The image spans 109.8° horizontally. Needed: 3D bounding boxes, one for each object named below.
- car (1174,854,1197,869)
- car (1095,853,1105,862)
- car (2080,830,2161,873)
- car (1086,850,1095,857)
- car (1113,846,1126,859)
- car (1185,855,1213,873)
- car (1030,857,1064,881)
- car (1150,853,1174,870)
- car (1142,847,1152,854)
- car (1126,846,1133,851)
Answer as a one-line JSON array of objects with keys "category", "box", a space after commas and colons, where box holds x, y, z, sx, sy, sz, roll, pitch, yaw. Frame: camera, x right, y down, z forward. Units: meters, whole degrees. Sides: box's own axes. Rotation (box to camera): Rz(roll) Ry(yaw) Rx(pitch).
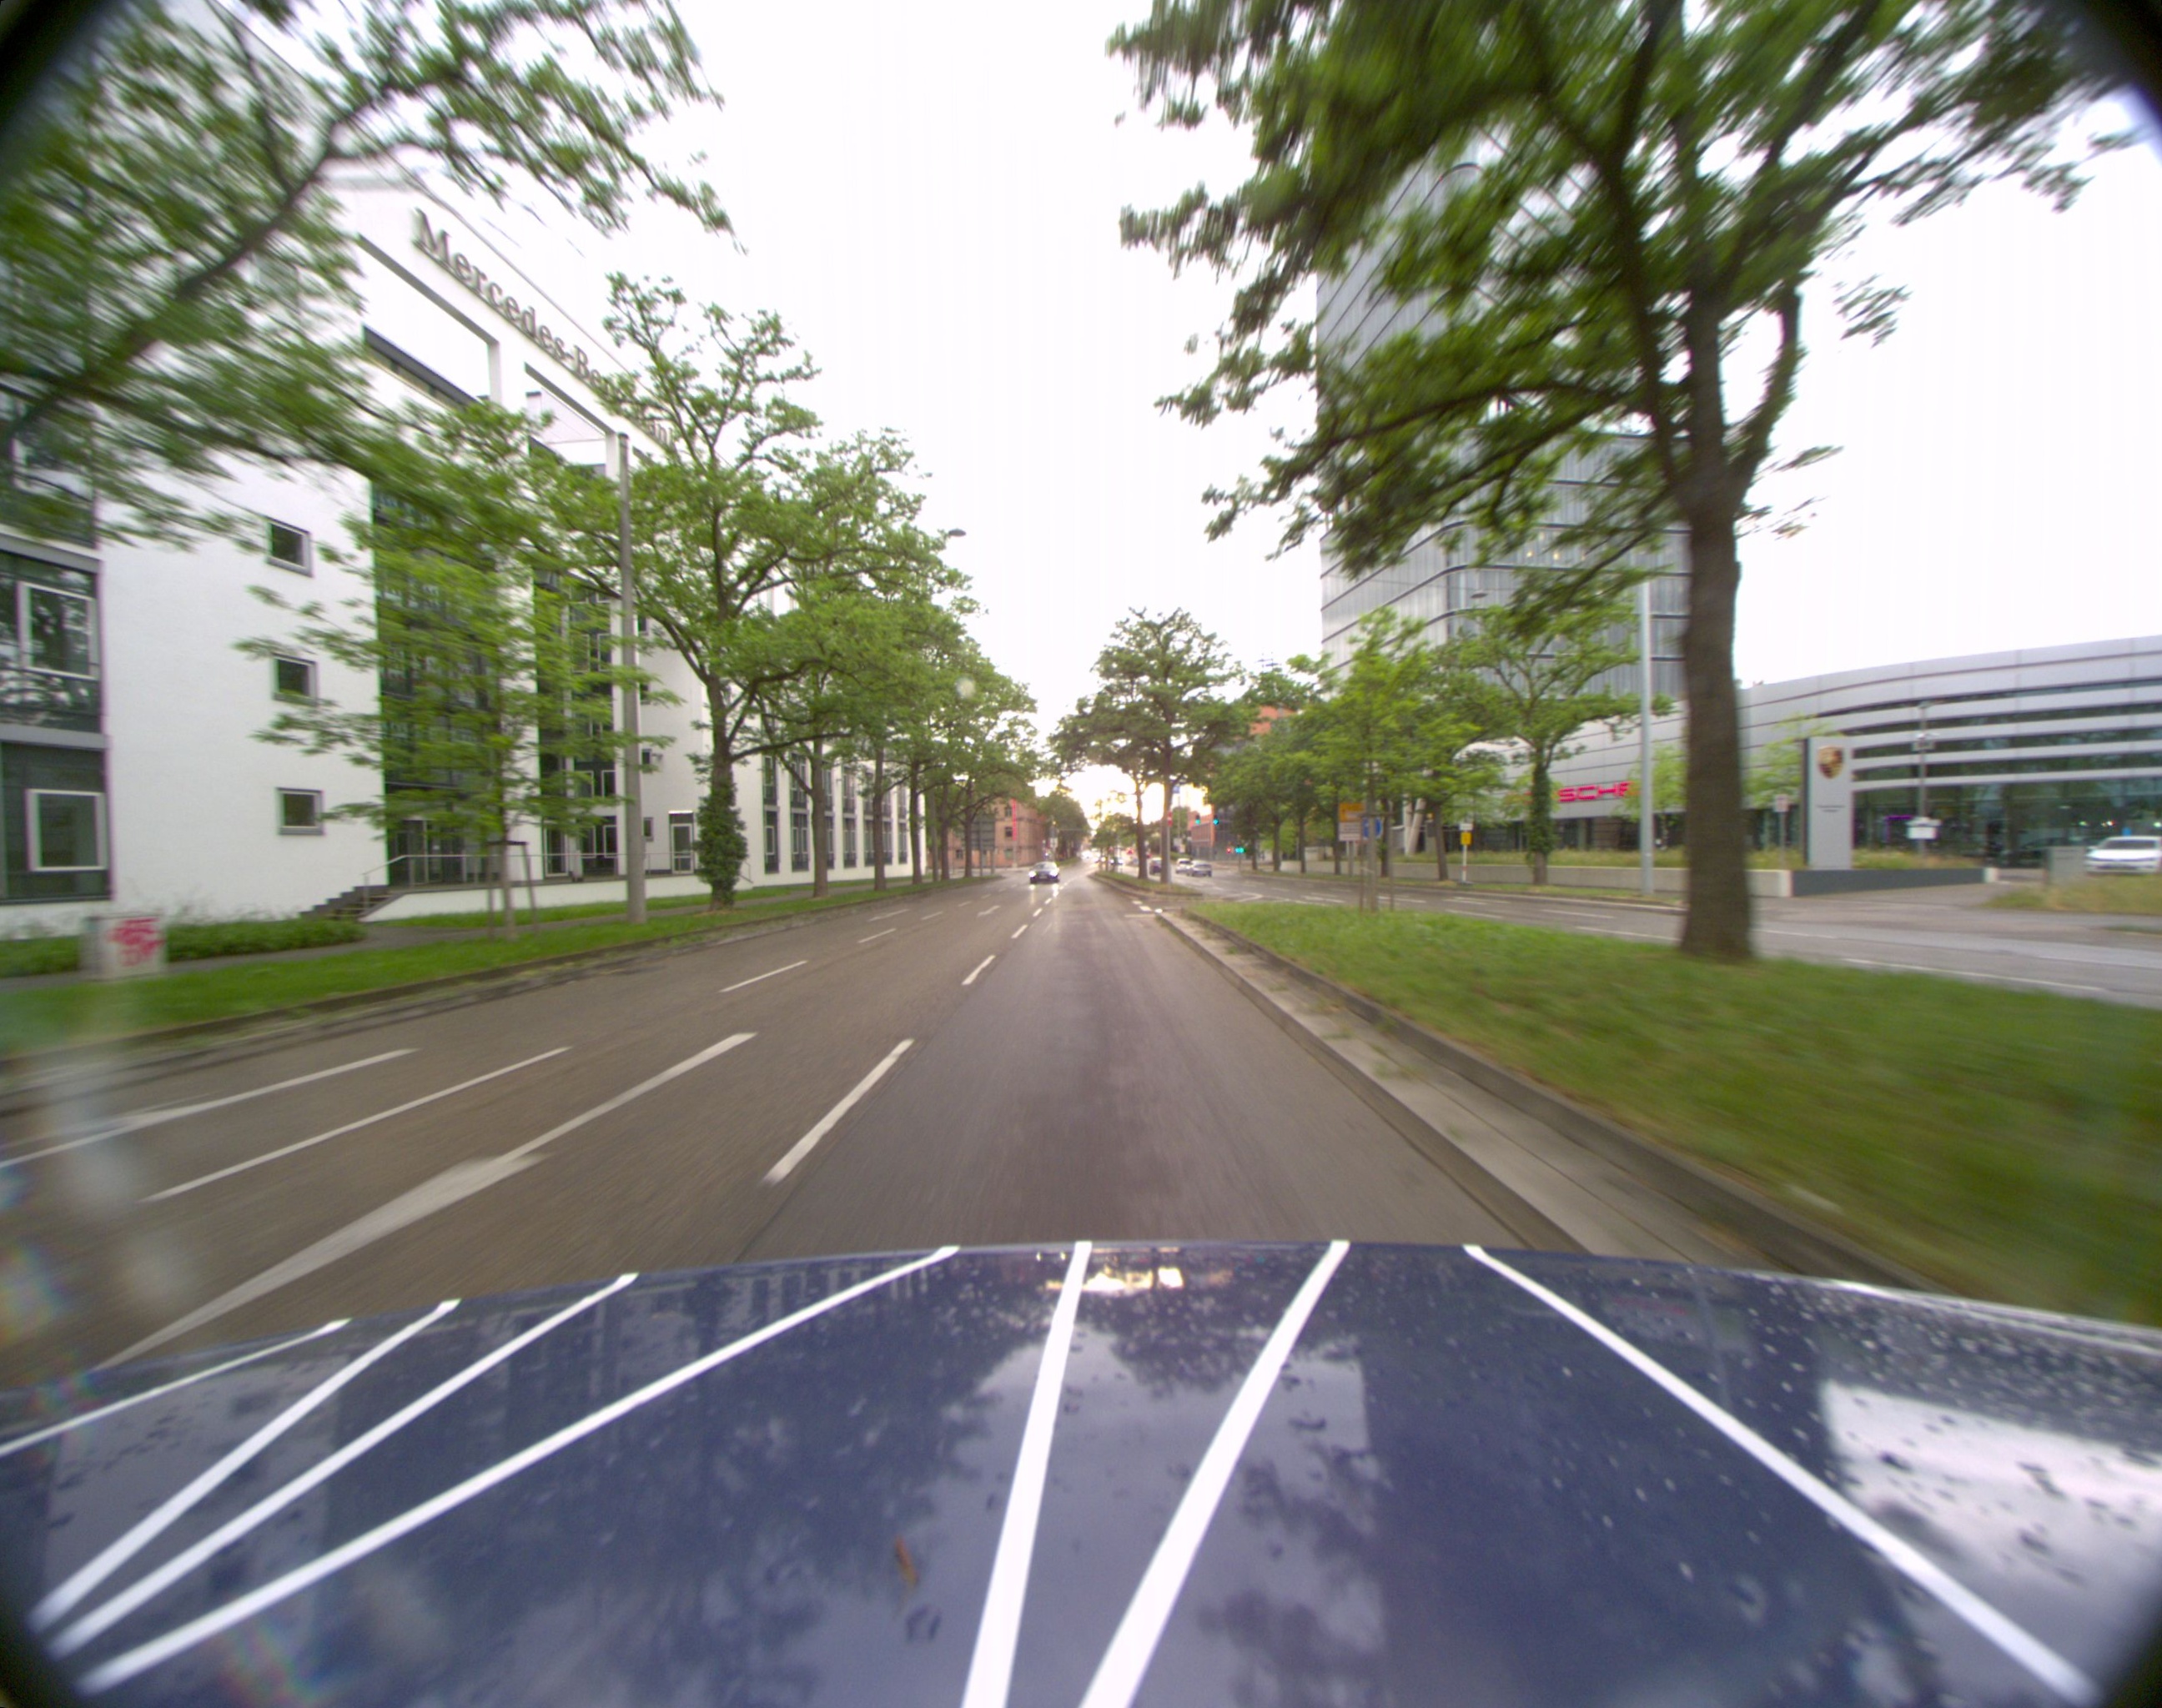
[{"category": "car", "box": [11.310, 0.796, 82.697, 1.783, 1.445, 3.999, -3, 1, -1]}, {"category": "car", "box": [3.393, 0.654, 135.985, 1.625, 1.426, 3.551, -3, 1, 4]}, {"category": "car", "box": [39.751, -0.108, 28.872, 4.006, 1.405, 1.774, -4, 1, -32]}, {"category": "car", "box": [2.395, -0.078, 188.882, 1.998, 1.576, 4.000, -1, 0, 2]}, {"category": "car", "box": [6.052, -0.222, 121.250, 1.998, 2.002, 4.000, -1, 0, 2]}, {"category": "car", "box": [10.793, 0.932, 69.699, 1.894, 1.445, 3.999, -3, 1, -1]}, {"category": "car", "box": [-2.237, 0.989, 51.229, 1.878, 1.346, 4.332, -3, 1, 2]}, {"category": "car", "box": [8.040, 0.711, 75.570, 1.846, 1.581, 4.172, -1, 1, -1]}, {"category": "car", "box": [14.954, -0.832, 172.212, 1.783, 1.445, 3.999, -3, 1, -1]}, {"category": "car", "box": [14.364, -1.690, 225.858, 1.782, 1.445, 4.000, -3, 1, 3]}]
